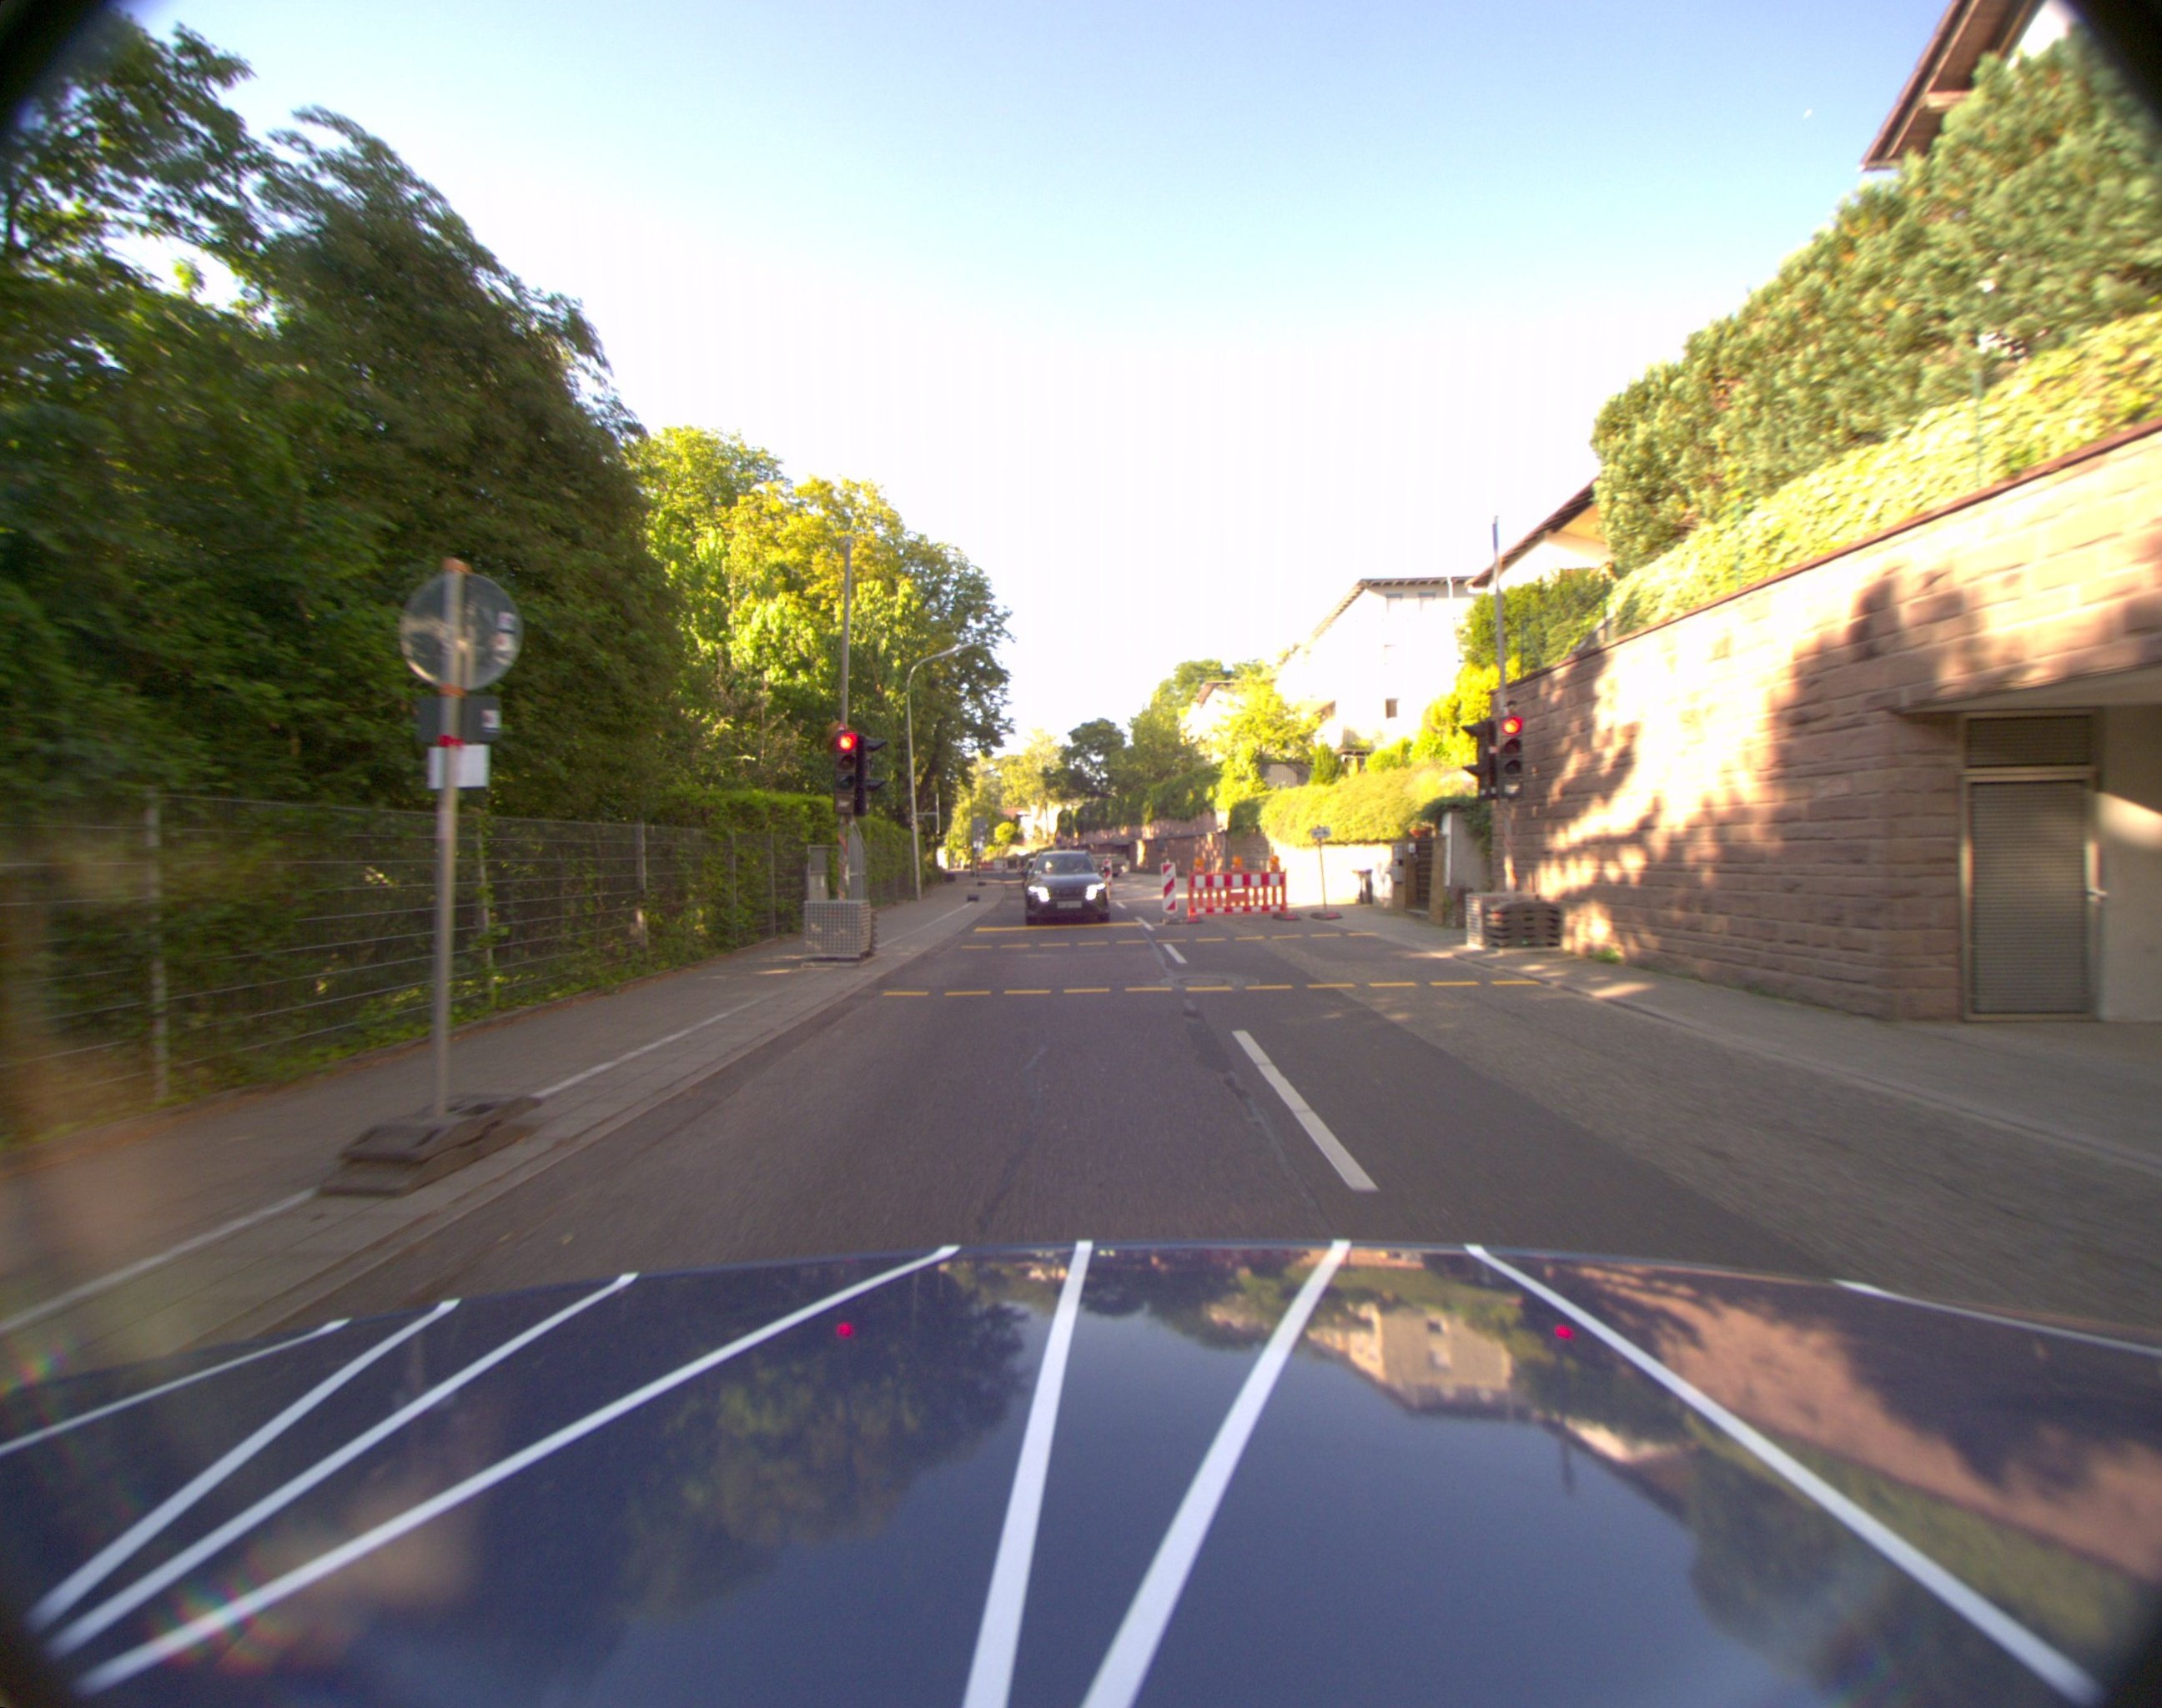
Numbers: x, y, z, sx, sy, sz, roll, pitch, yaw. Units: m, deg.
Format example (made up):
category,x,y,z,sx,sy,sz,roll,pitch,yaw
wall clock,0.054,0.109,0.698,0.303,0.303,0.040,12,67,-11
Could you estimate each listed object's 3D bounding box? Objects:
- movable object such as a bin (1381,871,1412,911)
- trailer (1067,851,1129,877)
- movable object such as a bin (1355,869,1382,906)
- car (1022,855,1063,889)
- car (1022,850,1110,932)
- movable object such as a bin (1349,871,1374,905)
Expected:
category,x,y,z,sx,sy,sz,roll,pitch,yaw
movable object such as a bin,7.166,0.835,17.269,0.457,0.879,0.500,-2,1,-1
trailer,1.020,0.600,50.491,2.649,1.481,7.111,-3,1,-10
movable object such as a bin,7.121,0.829,18.825,0.457,0.879,0.500,-2,1,-1
car,-1.901,0.817,36.585,1.663,1.468,3.680,-2,1,-6
car,-0.367,0.789,18.298,1.788,1.639,4.473,-3,0,-1
movable object such as a bin,7.122,0.852,19.296,0.455,0.829,0.392,-2,1,-1
